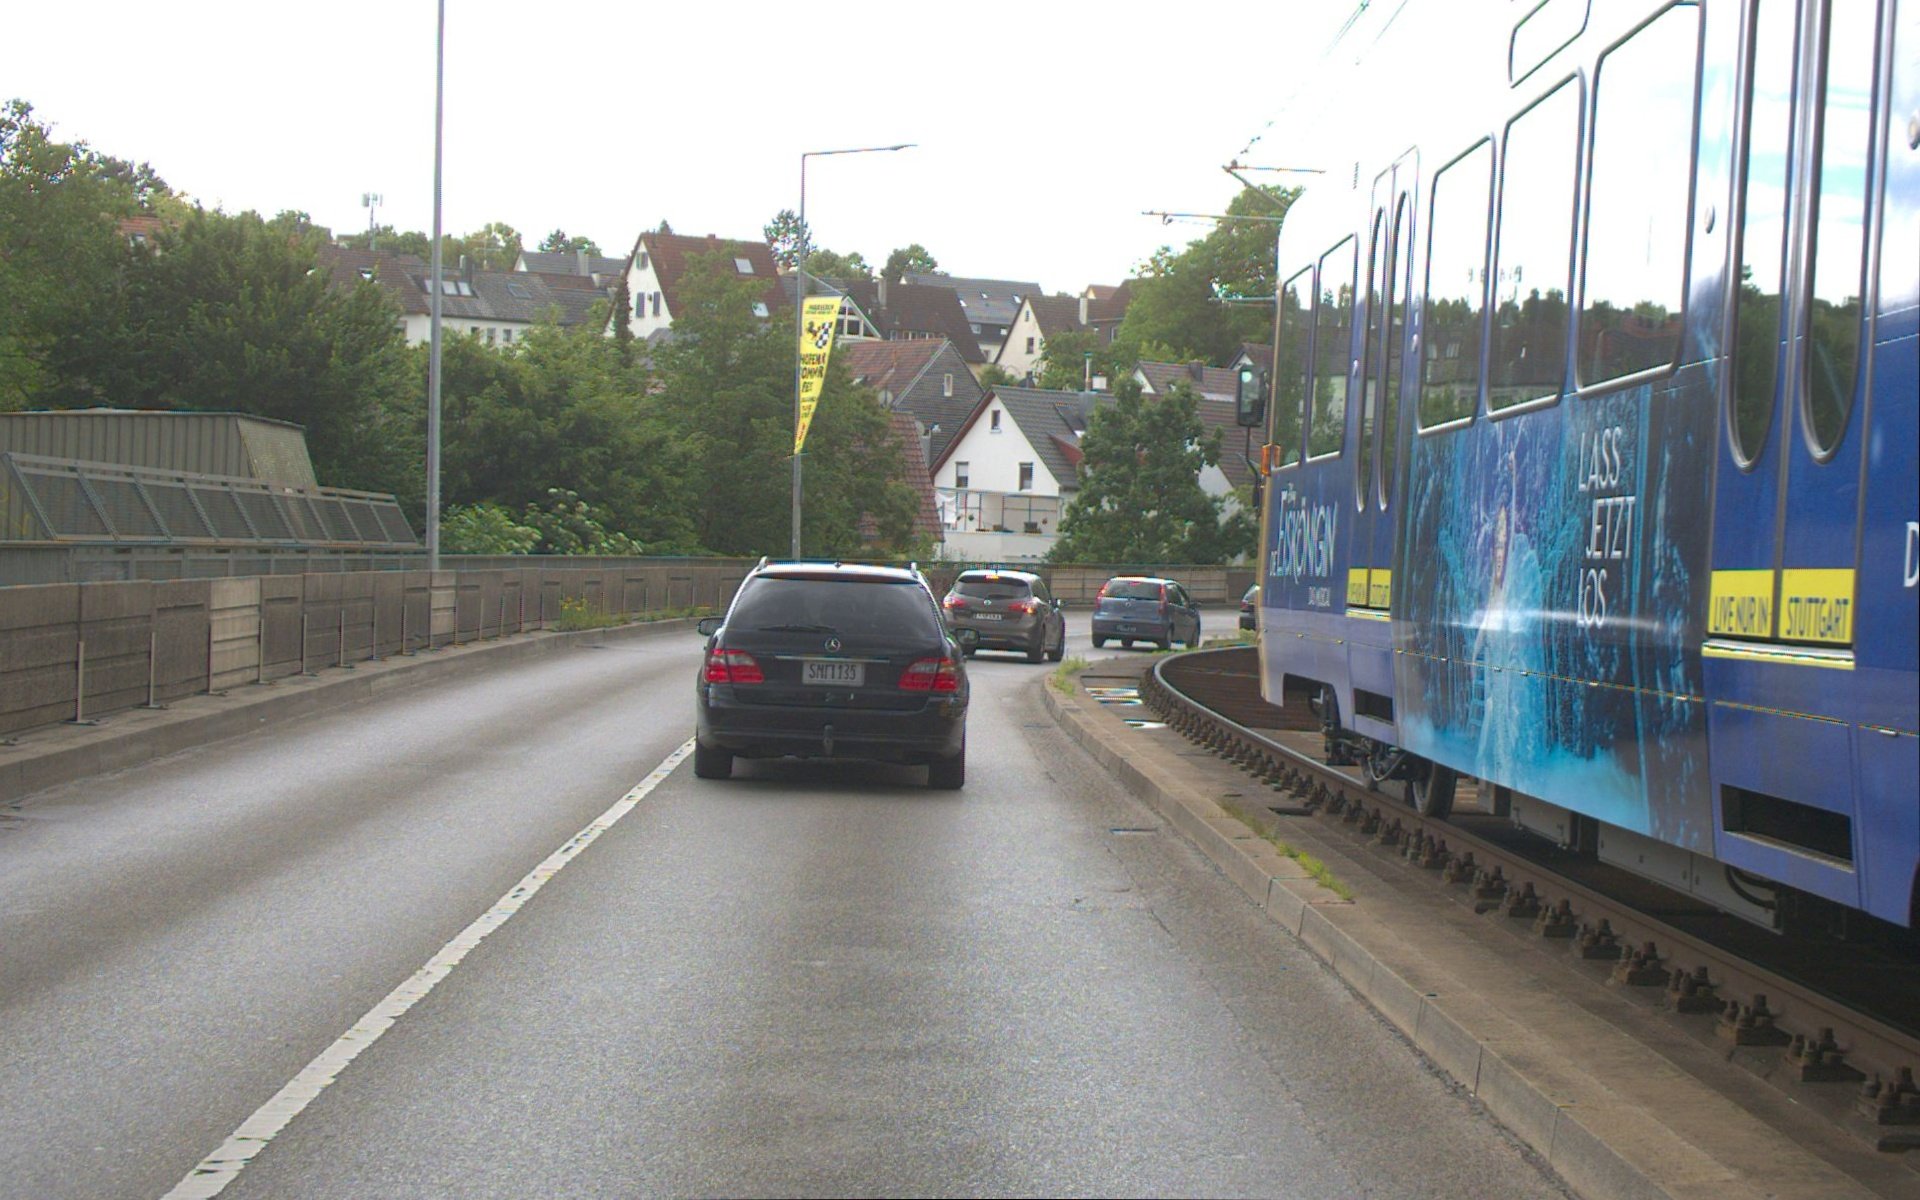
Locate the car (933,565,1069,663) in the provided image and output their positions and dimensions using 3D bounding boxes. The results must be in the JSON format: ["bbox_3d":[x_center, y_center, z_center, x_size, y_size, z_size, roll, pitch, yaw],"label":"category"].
[{"bbox_3d":[0.739,0.210,58.739,1.771,1.550,4.239,0,1,8],"label":"car"}]

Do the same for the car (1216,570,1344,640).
[{"bbox_3d":[7.537,0.122,80.622,1.772,1.550,4.235,2,0,22],"label":"car"}]

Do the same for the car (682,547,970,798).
[{"bbox_3d":[-0.918,0.447,23.944,1.759,1.510,4.442,3,0,-2],"label":"car"}]

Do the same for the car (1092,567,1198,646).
[{"bbox_3d":[3.859,0.105,71.150,1.793,1.550,4.384,1,1,8],"label":"car"}]

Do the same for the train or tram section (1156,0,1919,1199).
[{"bbox_3d":[3.131,-0.433,13.265,2.793,3.751,19.894,2,1,-2],"label":"train or tram section"}]
